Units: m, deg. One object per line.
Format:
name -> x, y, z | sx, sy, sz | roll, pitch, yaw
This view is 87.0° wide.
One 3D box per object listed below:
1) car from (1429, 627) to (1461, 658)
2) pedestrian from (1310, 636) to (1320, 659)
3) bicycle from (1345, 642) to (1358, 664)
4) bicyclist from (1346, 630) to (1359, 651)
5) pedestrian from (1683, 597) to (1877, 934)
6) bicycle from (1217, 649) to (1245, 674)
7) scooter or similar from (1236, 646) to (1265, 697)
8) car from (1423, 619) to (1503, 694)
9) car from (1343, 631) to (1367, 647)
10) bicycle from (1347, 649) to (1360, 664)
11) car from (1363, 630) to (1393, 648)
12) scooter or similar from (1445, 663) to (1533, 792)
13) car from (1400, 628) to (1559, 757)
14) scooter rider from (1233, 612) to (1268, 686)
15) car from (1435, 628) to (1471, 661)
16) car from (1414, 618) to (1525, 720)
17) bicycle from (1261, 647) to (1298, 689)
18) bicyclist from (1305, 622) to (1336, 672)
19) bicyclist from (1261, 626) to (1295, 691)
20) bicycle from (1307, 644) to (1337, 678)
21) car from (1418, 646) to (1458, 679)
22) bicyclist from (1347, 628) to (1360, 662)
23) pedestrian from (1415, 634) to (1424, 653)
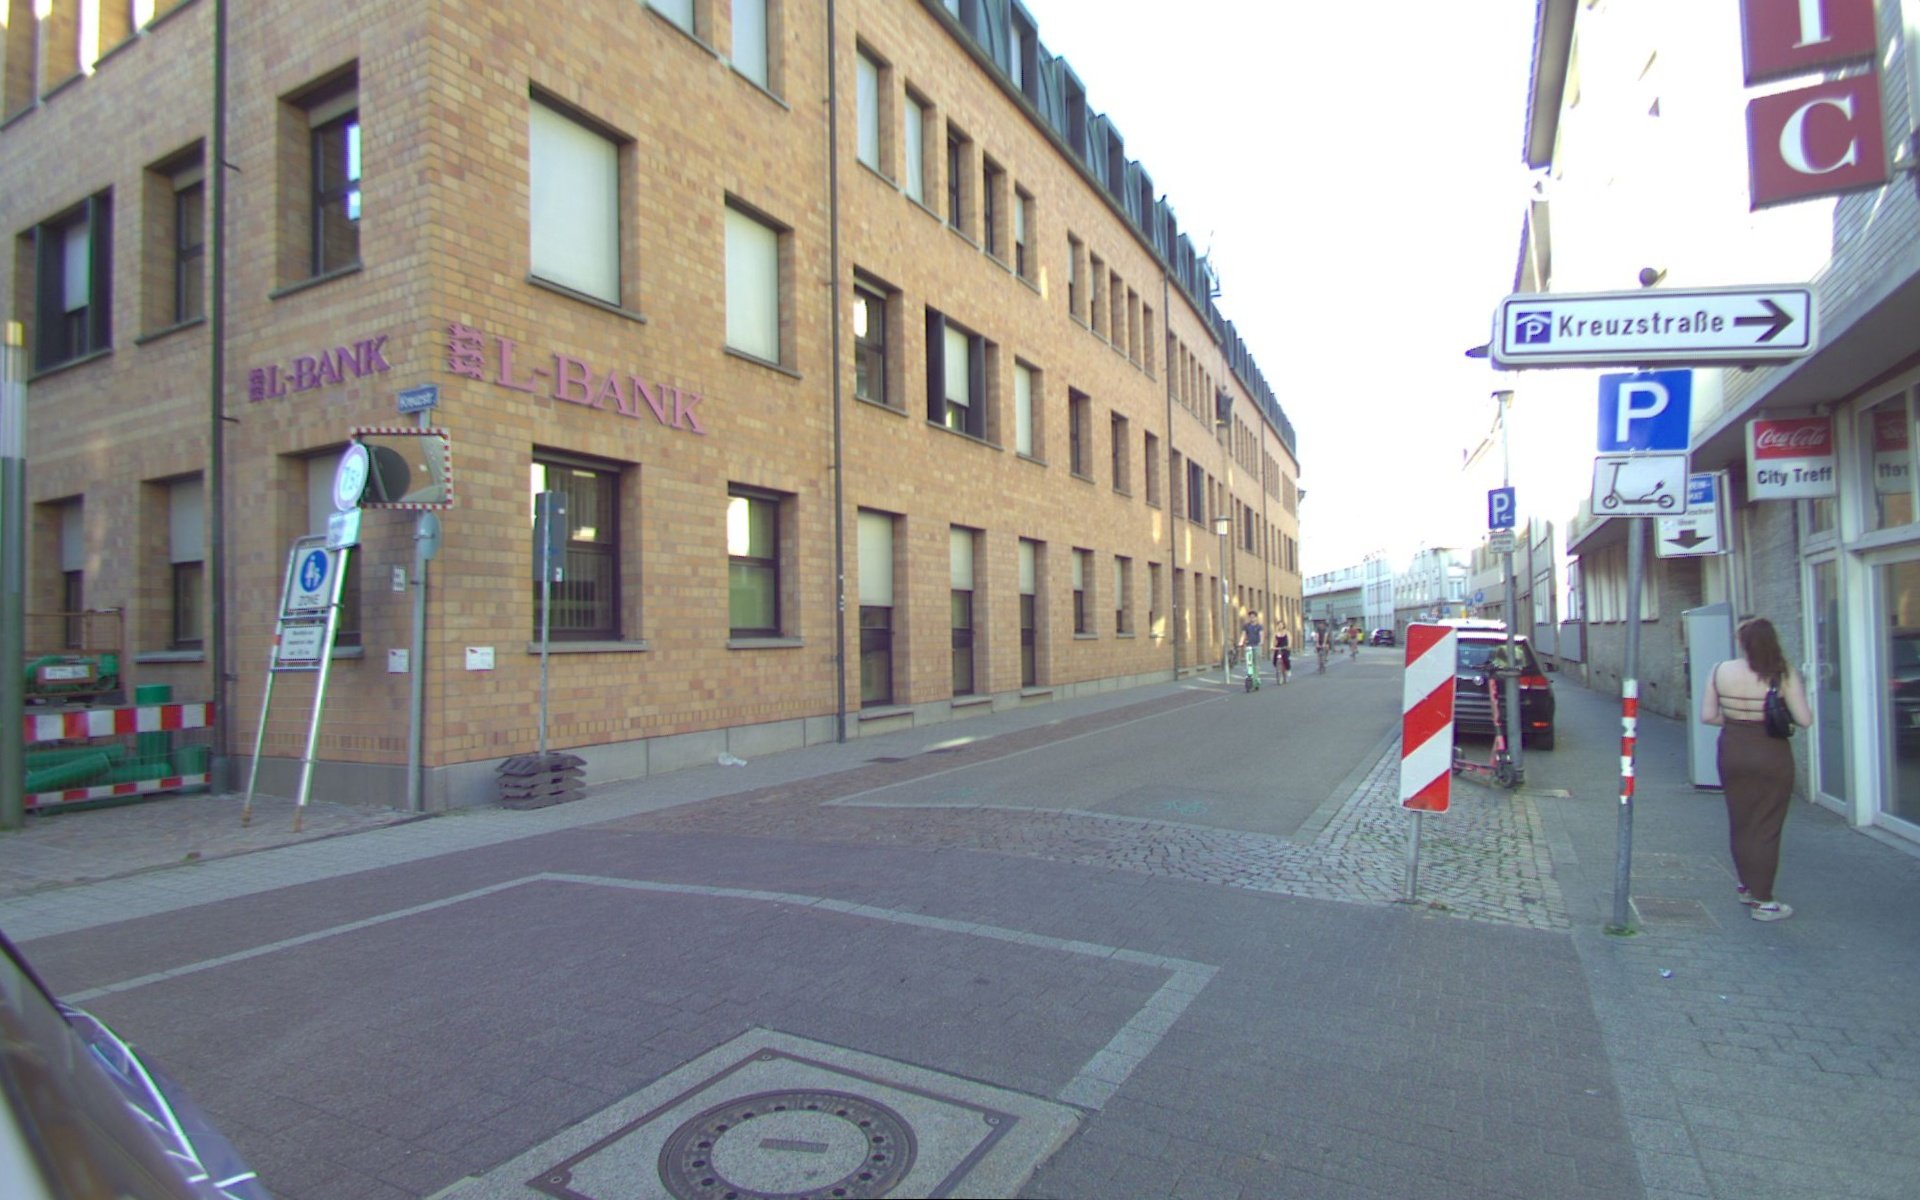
car -> 29.145, 2.552, 60.916 | 1.684, 1.789, 3.624 | 0, -2, 25
pedestrian -> 24.422, 3.240, 69.605 | 0.540, 1.556, 0.401 | -1, -2, 26
bicycle -> 18.073, 2.440, 46.689 | 0.433, 0.964, 1.578 | -2, -3, 24
bicyclist -> 31.448, 3.258, 81.165 | 0.766, 1.668, 0.952 | -4, -4, 16
pedestrian -> 4.183, 0.802, 5.178 | 0.502, 1.592, 0.535 | 0, -5, -38
bicycle -> 10.269, 2.313, 38.265 | 0.639, 0.888, 2.535 | -1, -2, 24
scooter or similar -> 7.004, 1.711, 24.373 | 0.335, 1.195, 1.267 | -5, -5, 28
car -> 12.669, 1.386, 25.493 | 1.665, 1.717, 3.975 | 0, -2, 27
car -> 43.505, 4.295, 111.518 | 1.917, 1.663, 3.820 | -1, -2, 13
bicycle -> 31.461, 4.542, 80.956 | 0.699, 1.112, 1.817 | -5, -4, 16
car -> 39.594, 3.723, 95.937 | 1.917, 1.663, 3.820 | -2, -3, 13
scooter or similar -> 5.215, 1.232, 10.015 | 0.205, 1.193, 0.884 | 0, -3, -13
car -> 7.195, 1.159, 14.112 | 1.732, 1.497, 3.776 | 0, -1, 27
scooter rider -> 7.024, 1.185, 24.431 | 0.646, 1.739, 0.695 | -3, -4, 27
car -> 26.915, 2.424, 55.346 | 1.684, 1.692, 3.477 | 0, -2, 25
car -> 9.504, 1.220, 18.912 | 1.665, 1.674, 4.043 | 0, -2, 27
bicycle -> 8.660, 1.818, 27.369 | 0.588, 1.060, 1.784 | -5, -4, 27
bicyclist -> 12.007, 1.560, 33.694 | 0.647, 1.570, 1.098 | -6, -5, 30
bicyclist -> 8.573, 1.575, 27.292 | 0.617, 1.679, 0.816 | -5, -4, 28
bicycle -> 12.031, 2.016, 33.624 | 0.571, 1.059, 1.817 | -3, -3, 30
car -> 31.145, 4.041, 66.042 | 1.985, 2.029, 3.973 | 0, -2, 20
bicyclist -> 18.175, 2.086, 46.732 | 0.426, 1.509, 0.868 | -4, -4, 25
pedestrian -> 36.564, 3.479, 80.506 | 0.567, 1.490, 0.470 | -2, -3, 20
